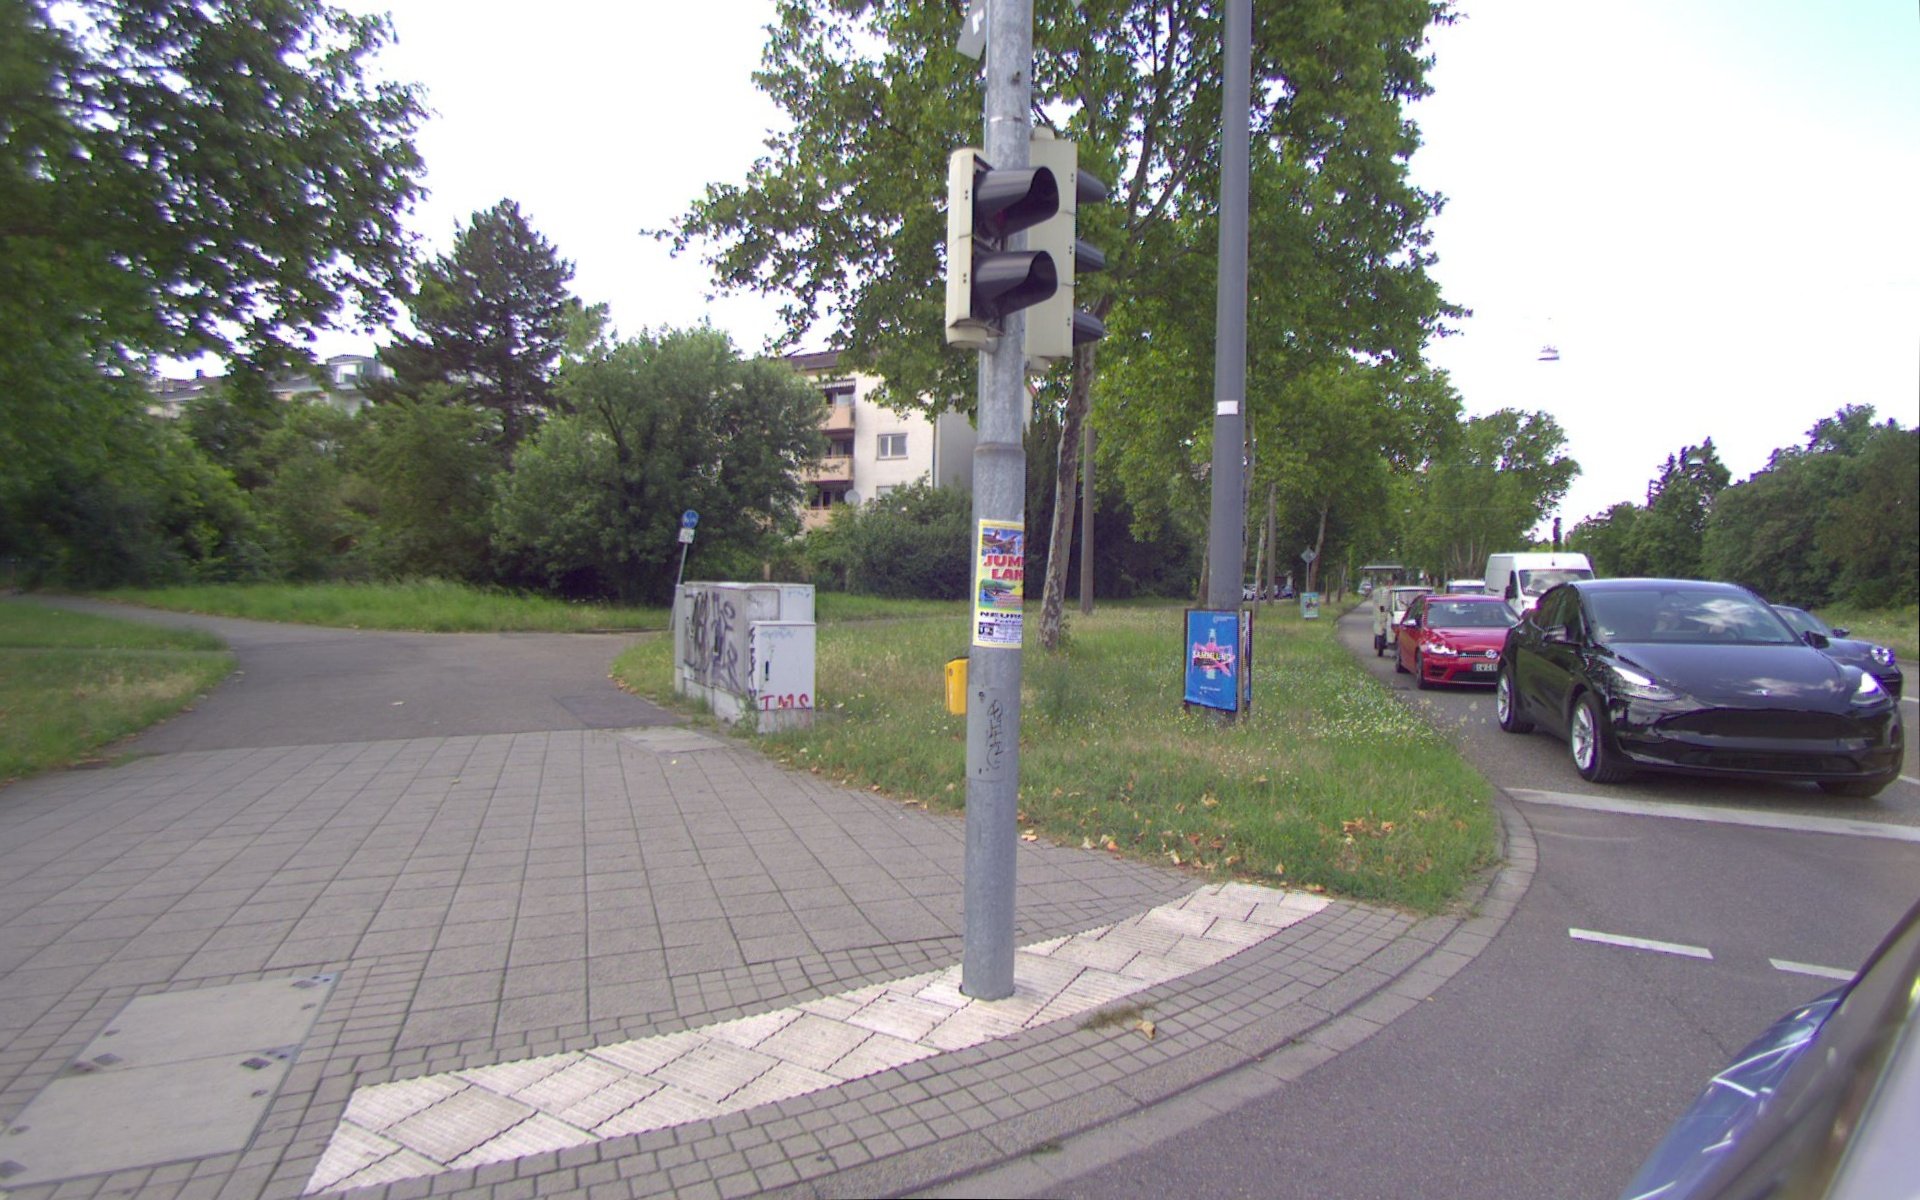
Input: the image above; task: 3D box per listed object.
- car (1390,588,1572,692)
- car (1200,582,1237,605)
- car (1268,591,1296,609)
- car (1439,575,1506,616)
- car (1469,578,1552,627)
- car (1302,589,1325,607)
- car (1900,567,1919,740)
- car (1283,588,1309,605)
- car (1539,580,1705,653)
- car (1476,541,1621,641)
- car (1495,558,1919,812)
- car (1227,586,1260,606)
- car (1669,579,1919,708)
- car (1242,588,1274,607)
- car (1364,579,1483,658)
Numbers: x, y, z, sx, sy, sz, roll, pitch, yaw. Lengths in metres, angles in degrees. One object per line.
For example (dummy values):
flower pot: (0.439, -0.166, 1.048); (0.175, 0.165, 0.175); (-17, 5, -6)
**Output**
car: (8.267, 0.531, 16.472); (1.777, 1.408, 4.479); (0, 1, 16)
car: (20.222, -0.501, 79.216); (1.764, 1.616, 3.613); (1, -1, 32)
car: (31.931, 0.013, 100.404); (1.764, 1.616, 3.613); (1, -1, 32)
car: (22.021, -0.234, 43.644); (1.740, 1.667, 4.322); (1, 1, 16)
car: (19.526, 0.046, 36.058); (1.819, 1.638, 4.133); (0, 1, 18)
car: (40.741, -0.231, 116.671); (1.764, 1.962, 3.613); (1, -1, 32)
car: (9.648, 0.547, 7.641); (1.904, 1.672, 4.479); (0, 1, 16)
car: (35.623, -0.374, 107.308); (1.764, 1.616, 3.613); (1, -1, 32)
car: (13.887, 0.277, 21.517); (1.740, 1.392, 4.322); (0, 1, 16)
car: (16.651, -0.275, 29.014); (2.197, 2.561, 5.903); (0, 1, 16)
car: (6.308, 0.516, 9.050); (1.906, 1.672, 4.554); (0, 1, 18)
car: (24.445, -0.313, 87.232); (1.764, 1.616, 3.613); (1, -1, 32)
car: (11.610, 0.488, 14.039); (1.780, 1.527, 3.977); (-1, 1, 18)
car: (26.756, -0.216, 90.797); (1.764, 1.616, 3.613); (1, -1, 32)
car: (10.227, 0.333, 22.642); (1.777, 1.589, 4.479); (0, 1, 16)
